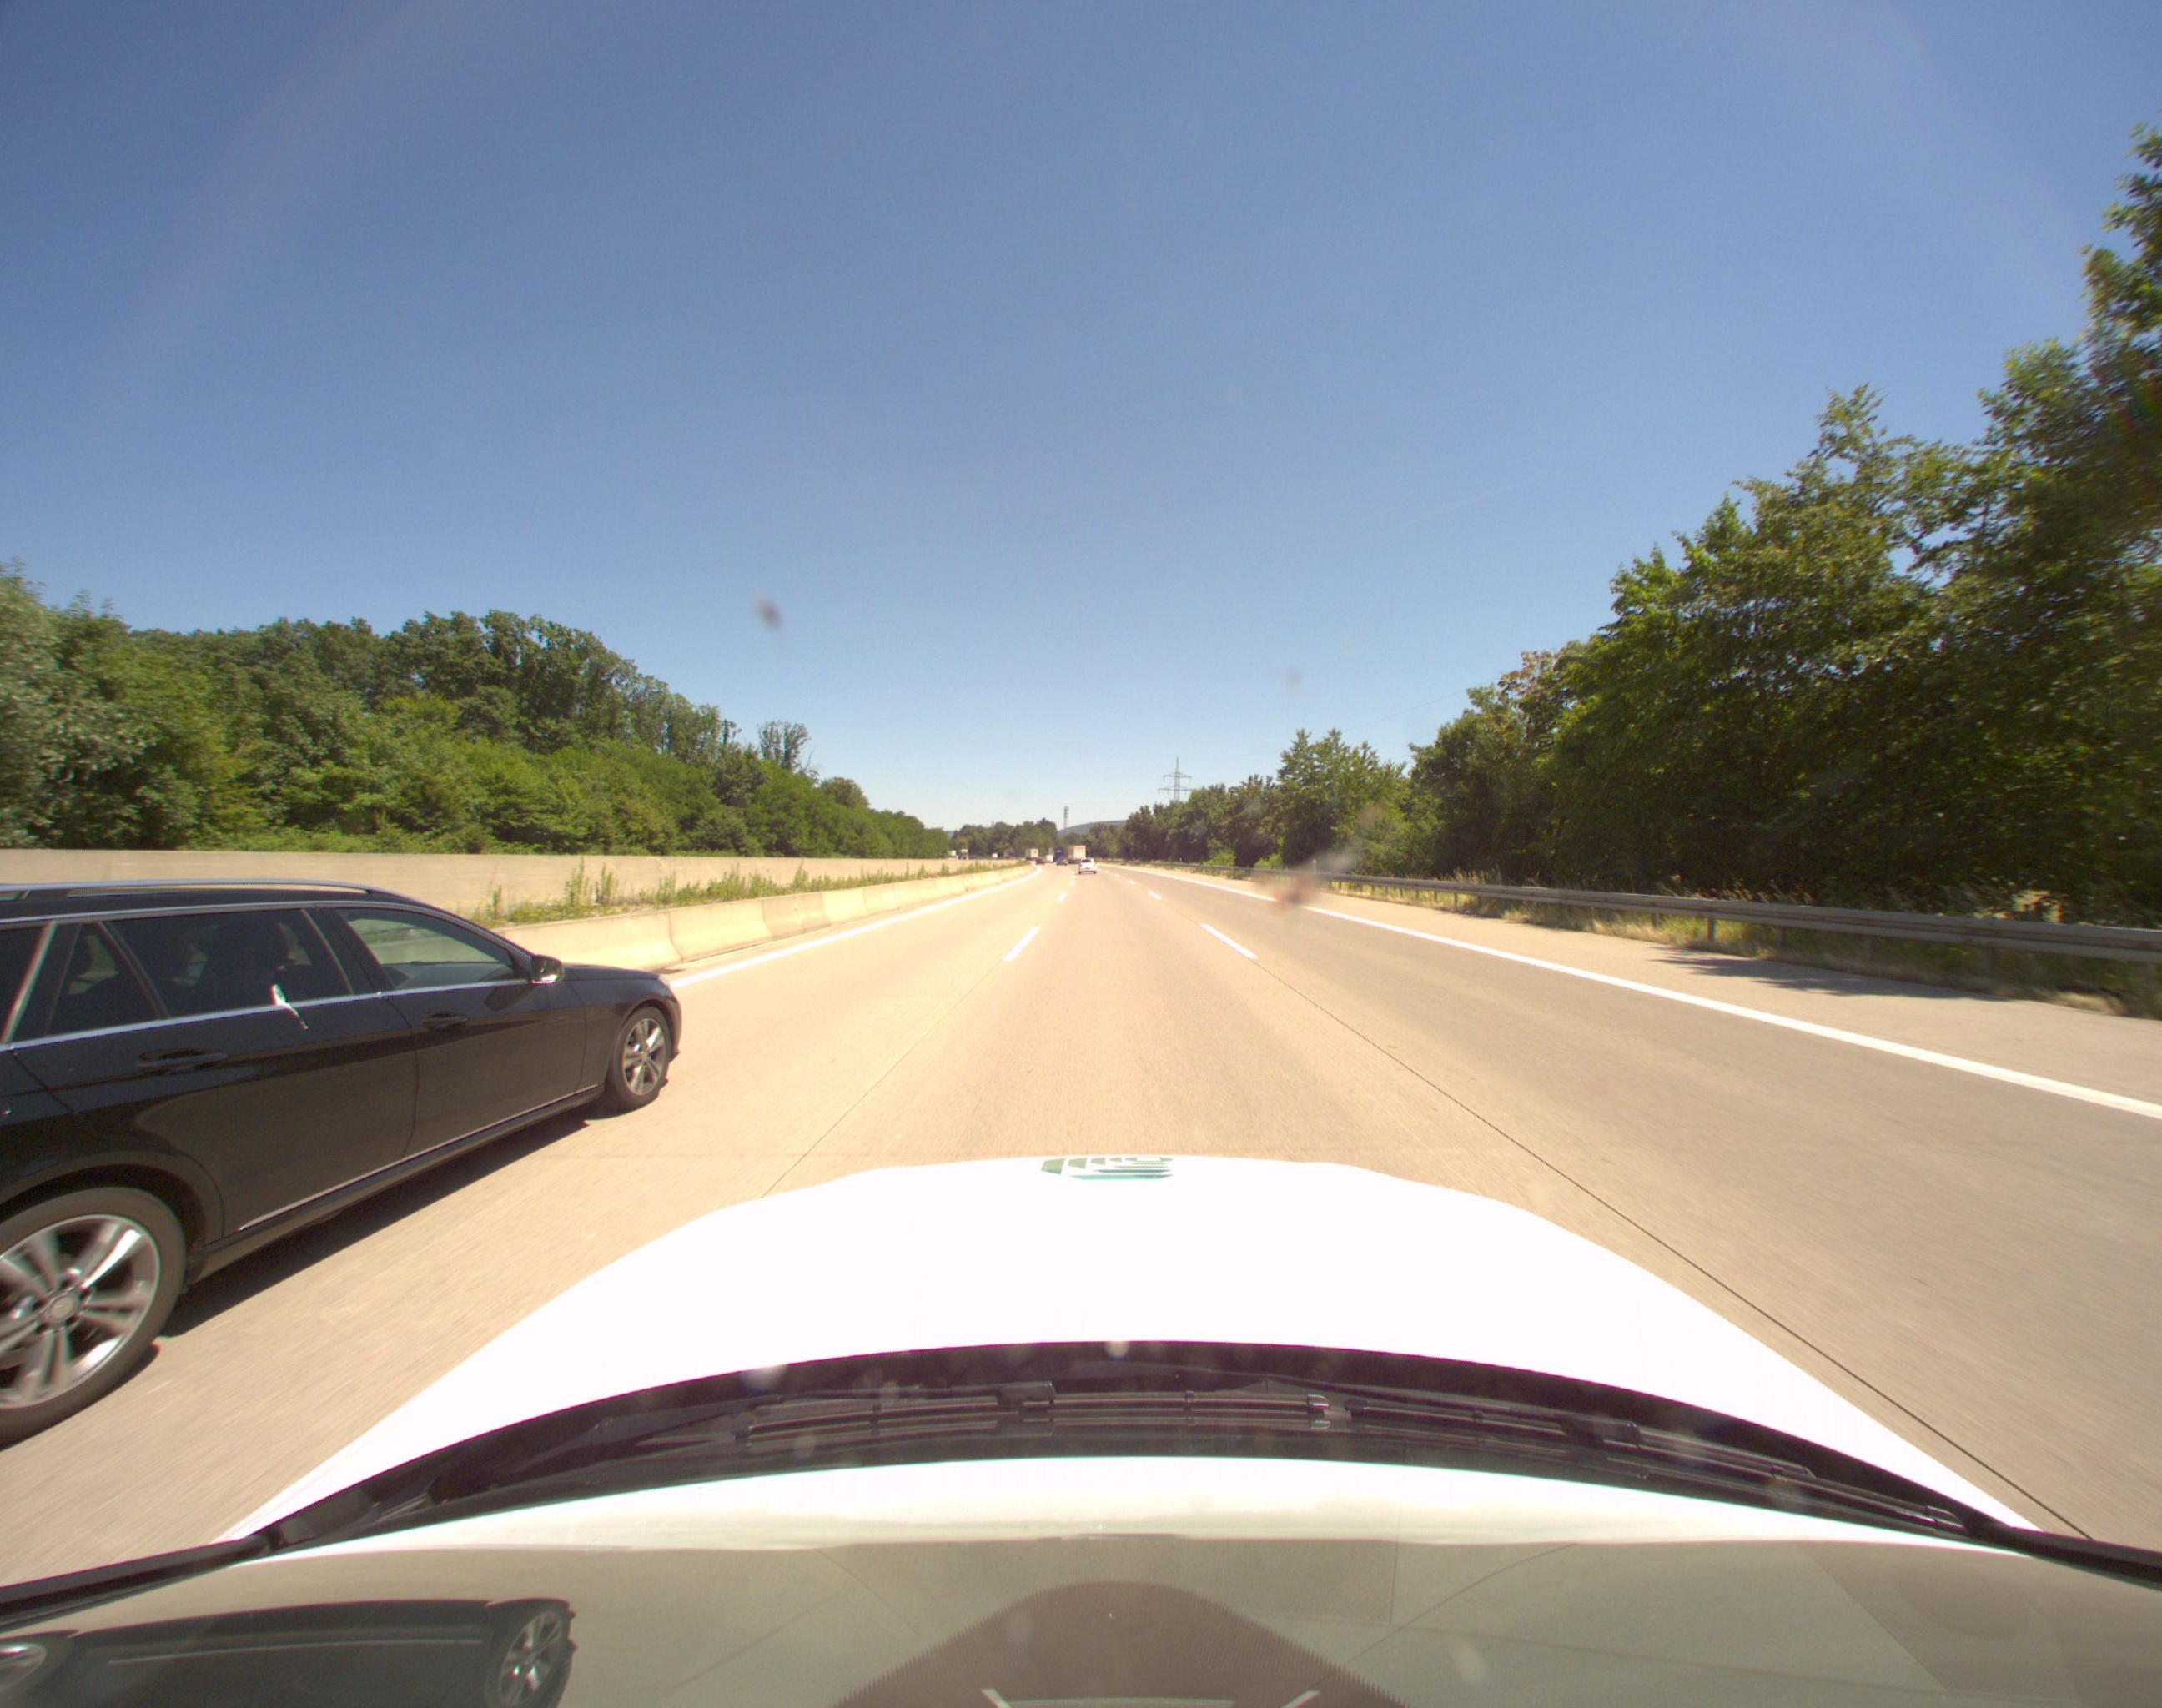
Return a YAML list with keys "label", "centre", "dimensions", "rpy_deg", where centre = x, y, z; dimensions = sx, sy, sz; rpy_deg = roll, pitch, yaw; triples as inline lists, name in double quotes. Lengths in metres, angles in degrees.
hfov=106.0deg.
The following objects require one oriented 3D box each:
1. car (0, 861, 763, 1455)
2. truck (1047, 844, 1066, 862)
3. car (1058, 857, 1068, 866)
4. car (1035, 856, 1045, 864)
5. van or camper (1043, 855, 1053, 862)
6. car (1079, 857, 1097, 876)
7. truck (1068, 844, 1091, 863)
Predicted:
- label: "car"
  centre: [-3.672, 0.815, 3.995]
  dimensions: [1.884, 1.473, 5.605]
  rpy_deg: [-1, 0, 1]
- label: "truck"
  centre: [-7.044, -0.284, 231.045]
  dimensions: [3.906, 4.741, 14.008]
  rpy_deg: [-2, 0, -8]
- label: "car"
  centre: [-3.614, 1.459, 160.329]
  dimensions: [1.608, 1.725, 3.566]
  rpy_deg: [-2, 0, -6]
- label: "car"
  centre: [-9.203, 1.277, 183.363]
  dimensions: [2.015, 1.700, 4.000]
  rpy_deg: [4, 0, 0]
- label: "van or camper"
  centre: [-8.615, 1.191, 212.223]
  dimensions: [1.872, 1.838, 3.976]
  rpy_deg: [-1, 0, -17]
- label: "car"
  centre: [0.675, 1.205, 79.565]
  dimensions: [1.636, 1.662, 3.360]
  rpy_deg: [3, 0, 0]
- label: "truck"
  centre: [-0.439, -0.038, 180.726]
  dimensions: [3.815, 3.889, 14.125]
  rpy_deg: [-2, 0, -5]
